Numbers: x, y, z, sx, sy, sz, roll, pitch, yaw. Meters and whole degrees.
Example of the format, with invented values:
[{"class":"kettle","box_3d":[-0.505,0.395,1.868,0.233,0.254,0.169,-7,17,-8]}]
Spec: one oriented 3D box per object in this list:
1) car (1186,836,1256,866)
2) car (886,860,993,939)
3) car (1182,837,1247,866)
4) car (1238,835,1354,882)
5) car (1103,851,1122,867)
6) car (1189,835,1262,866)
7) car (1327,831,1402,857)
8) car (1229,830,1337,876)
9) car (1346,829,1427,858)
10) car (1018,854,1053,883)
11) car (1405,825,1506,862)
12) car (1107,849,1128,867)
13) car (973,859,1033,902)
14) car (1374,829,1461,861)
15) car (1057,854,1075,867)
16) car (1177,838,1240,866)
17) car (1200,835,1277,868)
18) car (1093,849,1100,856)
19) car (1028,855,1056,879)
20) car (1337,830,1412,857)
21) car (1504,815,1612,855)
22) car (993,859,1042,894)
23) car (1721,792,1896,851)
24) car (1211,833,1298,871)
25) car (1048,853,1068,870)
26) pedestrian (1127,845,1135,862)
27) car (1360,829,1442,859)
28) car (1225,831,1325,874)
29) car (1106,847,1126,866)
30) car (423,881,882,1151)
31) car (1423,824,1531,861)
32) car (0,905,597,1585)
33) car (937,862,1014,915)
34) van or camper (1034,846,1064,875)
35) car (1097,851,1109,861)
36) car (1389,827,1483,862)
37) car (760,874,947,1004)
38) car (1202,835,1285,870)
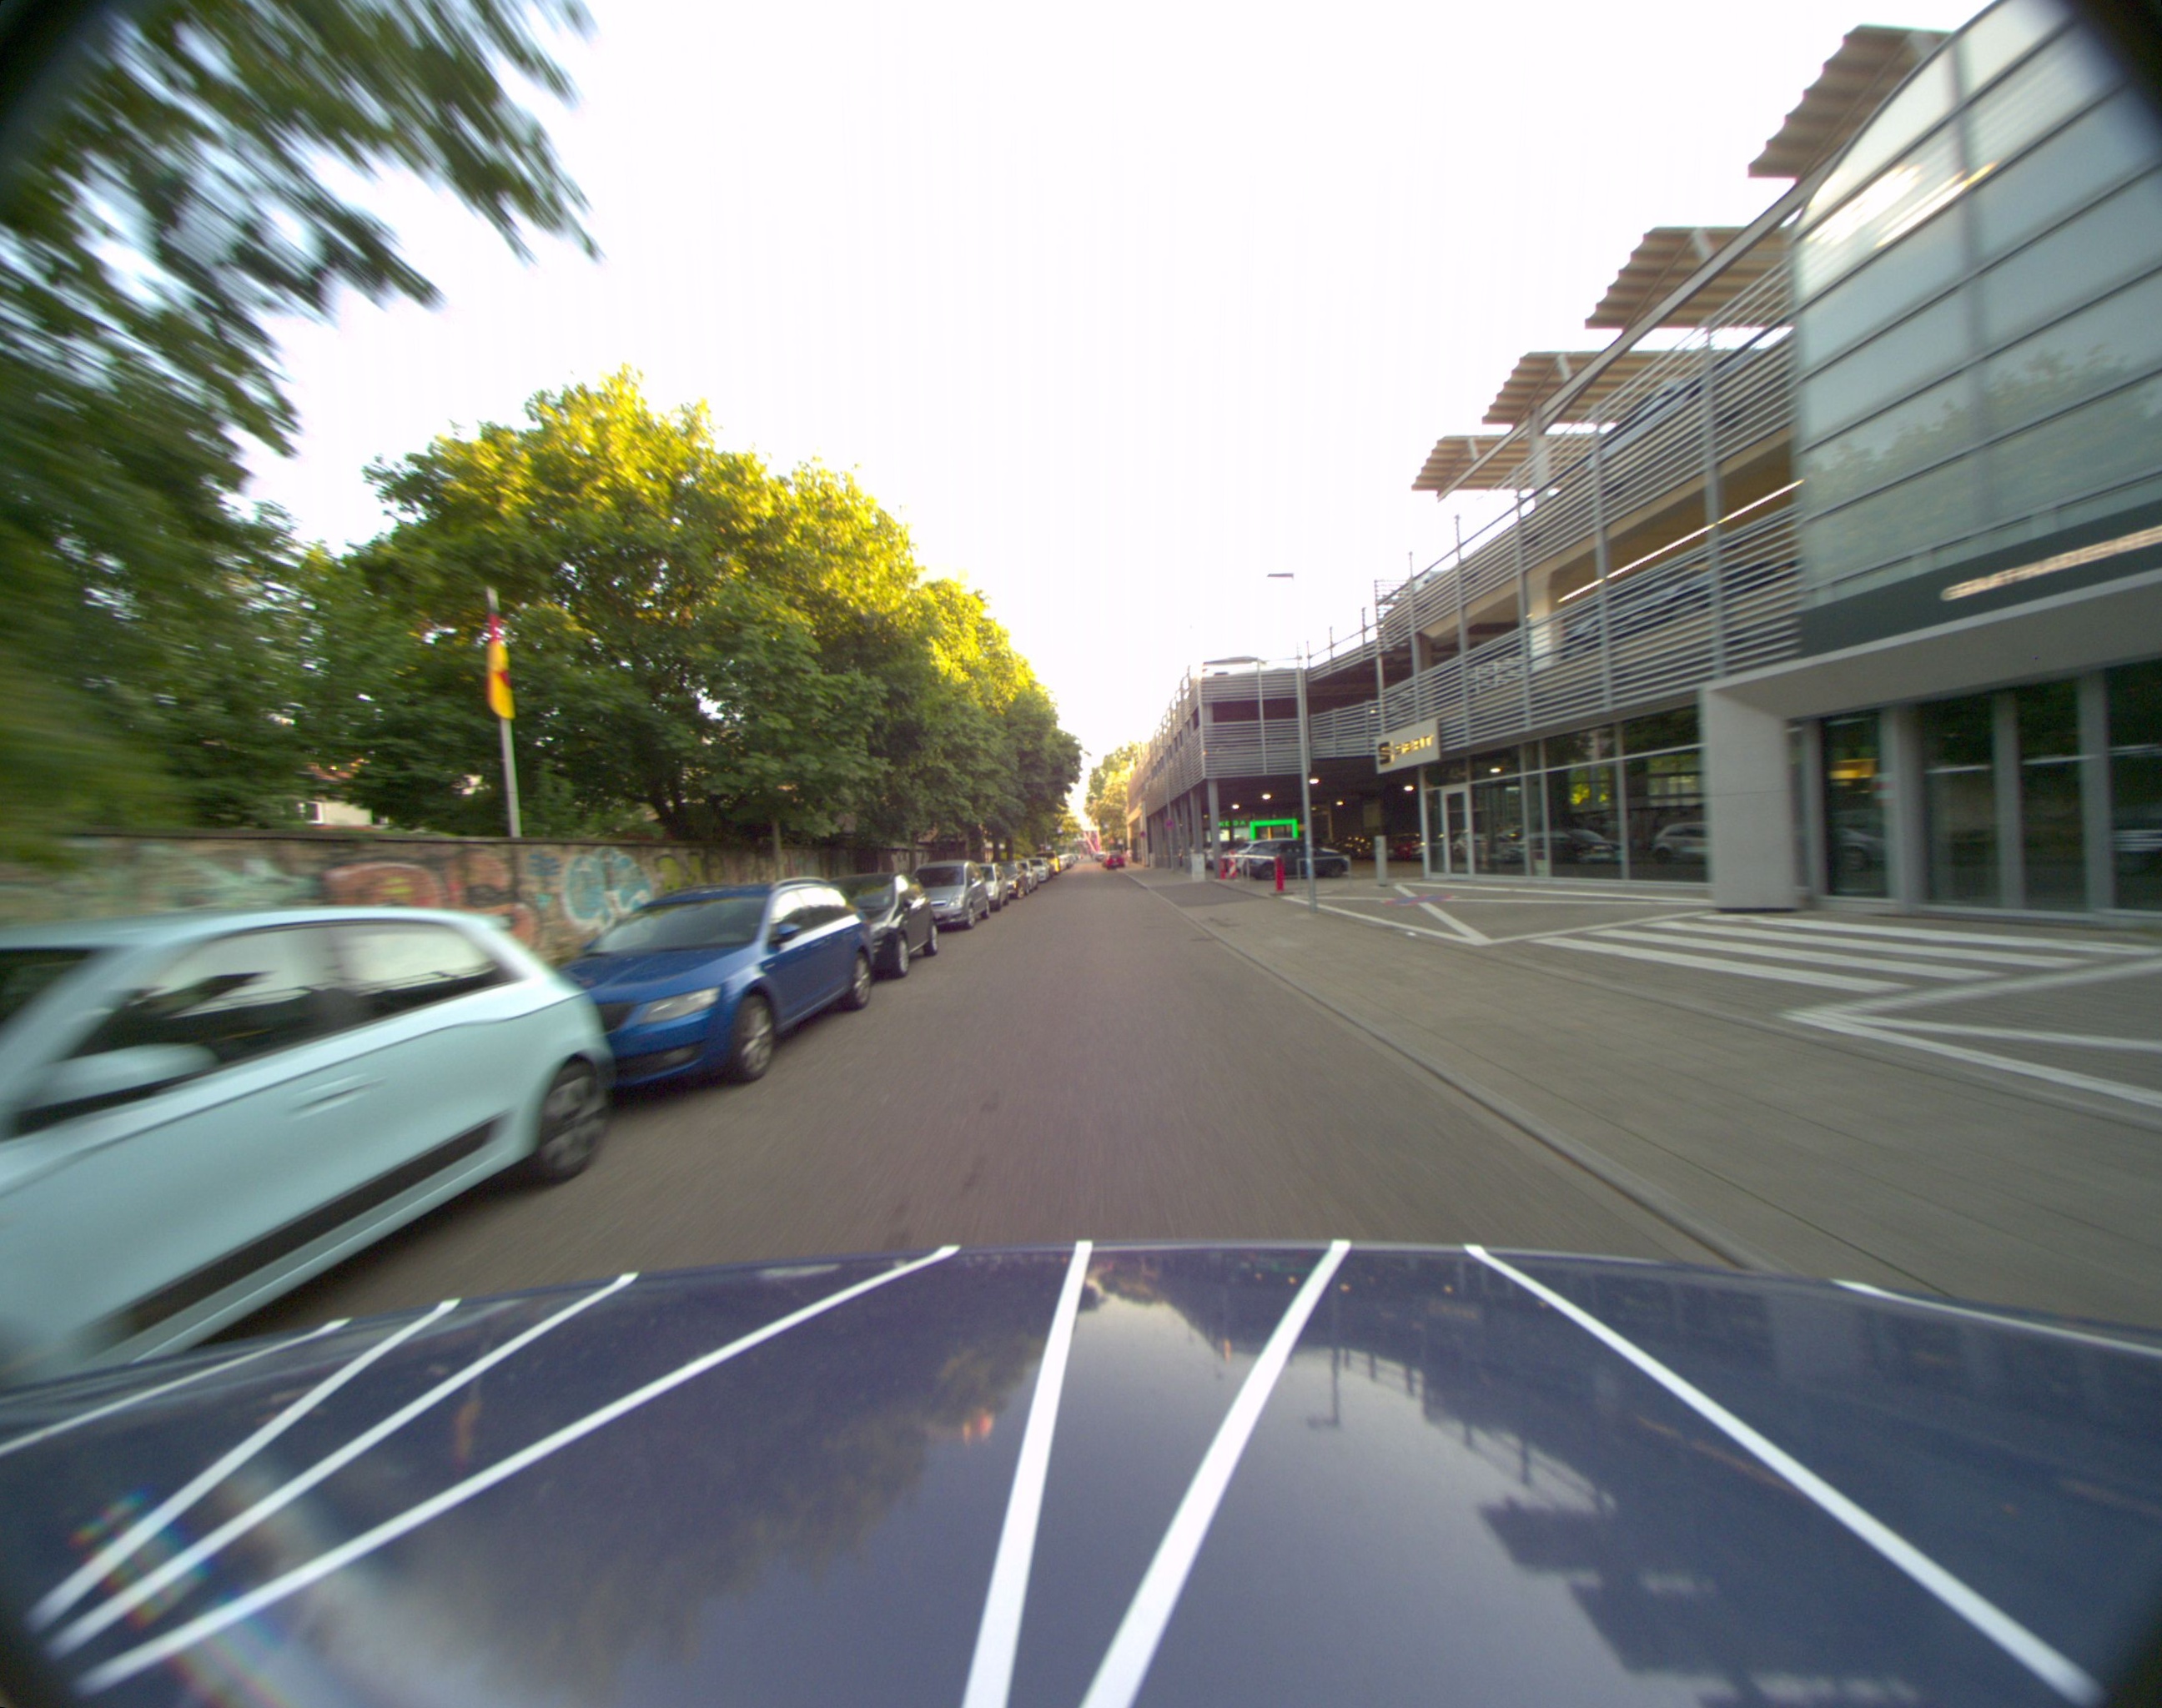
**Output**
[{"class":"car","box_3d":[9.004,-0.162,49.075,4.093,1.674,1.860,-3,0,2]},{"class":"car","box_3d":[-3.338,1.014,18.666,1.764,1.594,3.873,-3,0,1]},{"class":"car","box_3d":[9.001,-0.174,51.607,4.035,1.674,1.860,-3,0,2]},{"class":"car","box_3d":[8.425,0.155,30.068,3.997,1.577,1.859,-3,2,-1]},{"class":"car","box_3d":[3.488,0.580,82.938,1.942,1.587,4.206,-3,-1,3]},{"class":"car","box_3d":[8.866,-0.197,46.845,4.113,1.674,1.860,-3,0,2]},{"class":"car","box_3d":[19.252,-0.645,51.669,4.347,1.478,1.860,-3,0,2]},{"class":"car","box_3d":[8.633,-0.025,32.692,4.089,1.674,1.860,-3,0,2]},{"class":"car","box_3d":[18.880,-0.634,47.097,4.215,1.511,1.860,-3,0,2]},{"class":"car","box_3d":[-2.646,0.856,45.264,1.726,1.510,4.026,-3,-1,0]},{"class":"car","box_3d":[18.742,-0.496,38.200,4.077,1.569,1.860,-3,0,2]},{"class":"car","box_3d":[3.372,0.351,70.933,1.702,1.497,3.791,-3,0,1]},{"class":"car","box_3d":[-2.991,0.993,29.922,1.764,1.446,4.392,-3,0,1]},{"class":"car","box_3d":[18.924,-0.504,42.852,3.996,1.549,1.860,-3,0,2]},{"class":"car","box_3d":[-1.709,0.735,85.647,1.814,1.408,4.625,-3,0,1]},{"class":"car","box_3d":[8.982,-0.115,53.806,4.159,1.674,1.860,-3,0,2]},{"class":"car","box_3d":[9.160,-0.127,44.458,4.113,1.674,1.860,-3,0,2]},{"class":"car","box_3d":[4.513,-0.417,219.998,1.786,1.772,4.012,-9,0,-2]},{"class":"car","box_3d":[-2.541,0.838,50.226,1.567,1.442,3.454,-3,-1,0]},{"class":"car","box_3d":[18.897,-0.640,49.093,4.084,1.446,1.860,-3,0,2]},{"class":"car","box_3d":[23.815,-0.912,38.068,4.158,1.674,1.860,-3,0,2]},{"class":"car","box_3d":[-2.841,0.995,34.664,1.764,1.433,4.006,-3,-1,1]},{"class":"car","box_3d":[23.133,-1.011,24.264,3.839,1.463,1.788,-4,-3,-3]},{"class":"car","box_3d":[8.979,-0.084,39.643,4.074,1.674,1.860,-3,0,2]},{"class":"car","box_3d":[-2.289,0.776,75.999,1.796,1.553,4.194,-3,0,1]},{"class":"pedestrian","box_3d":[5.407,-0.053,81.550,0.722,1.867,0.620,-3,0,2]},{"class":"car","box_3d":[18.911,-0.574,44.984,3.996,1.549,1.860,-3,0,2]},{"class":"car","box_3d":[8.912,-0.053,35.112,4.097,1.674,1.860,-3,0,2]},{"class":"car","box_3d":[3.497,0.215,76.424,1.702,1.746,4.403,-3,0,1]},{"class":"car","box_3d":[-3.266,1.106,6.893,1.699,1.468,4.117,-3,0,1]},{"class":"car","box_3d":[18.706,-0.509,35.991,4.061,1.486,1.860,-3,0,2]},{"class":"car","box_3d":[-3.512,1.070,2.406,1.699,1.468,3.558,-3,0,-3]},{"class":"car","box_3d":[-3.227,1.031,23.988,1.764,1.433,3.874,-3,-1,1]},{"class":"van or camper","box_3d":[-2.491,0.508,60.817,2.069,2.083,5.091,-3,-1,0]},{"class":"car","box_3d":[3.938,0.407,137.381,1.786,1.442,3.884,-9,0,-2]},{"class":"car","box_3d":[18.880,-0.488,40.536,4.045,1.587,1.860,-3,0,2]},{"class":"car","box_3d":[-3.249,1.139,11.622,1.601,1.468,3.773,-3,0,1]},{"class":"car","box_3d":[8.919,-0.084,41.969,4.113,1.674,1.860,-3,0,2]}]
